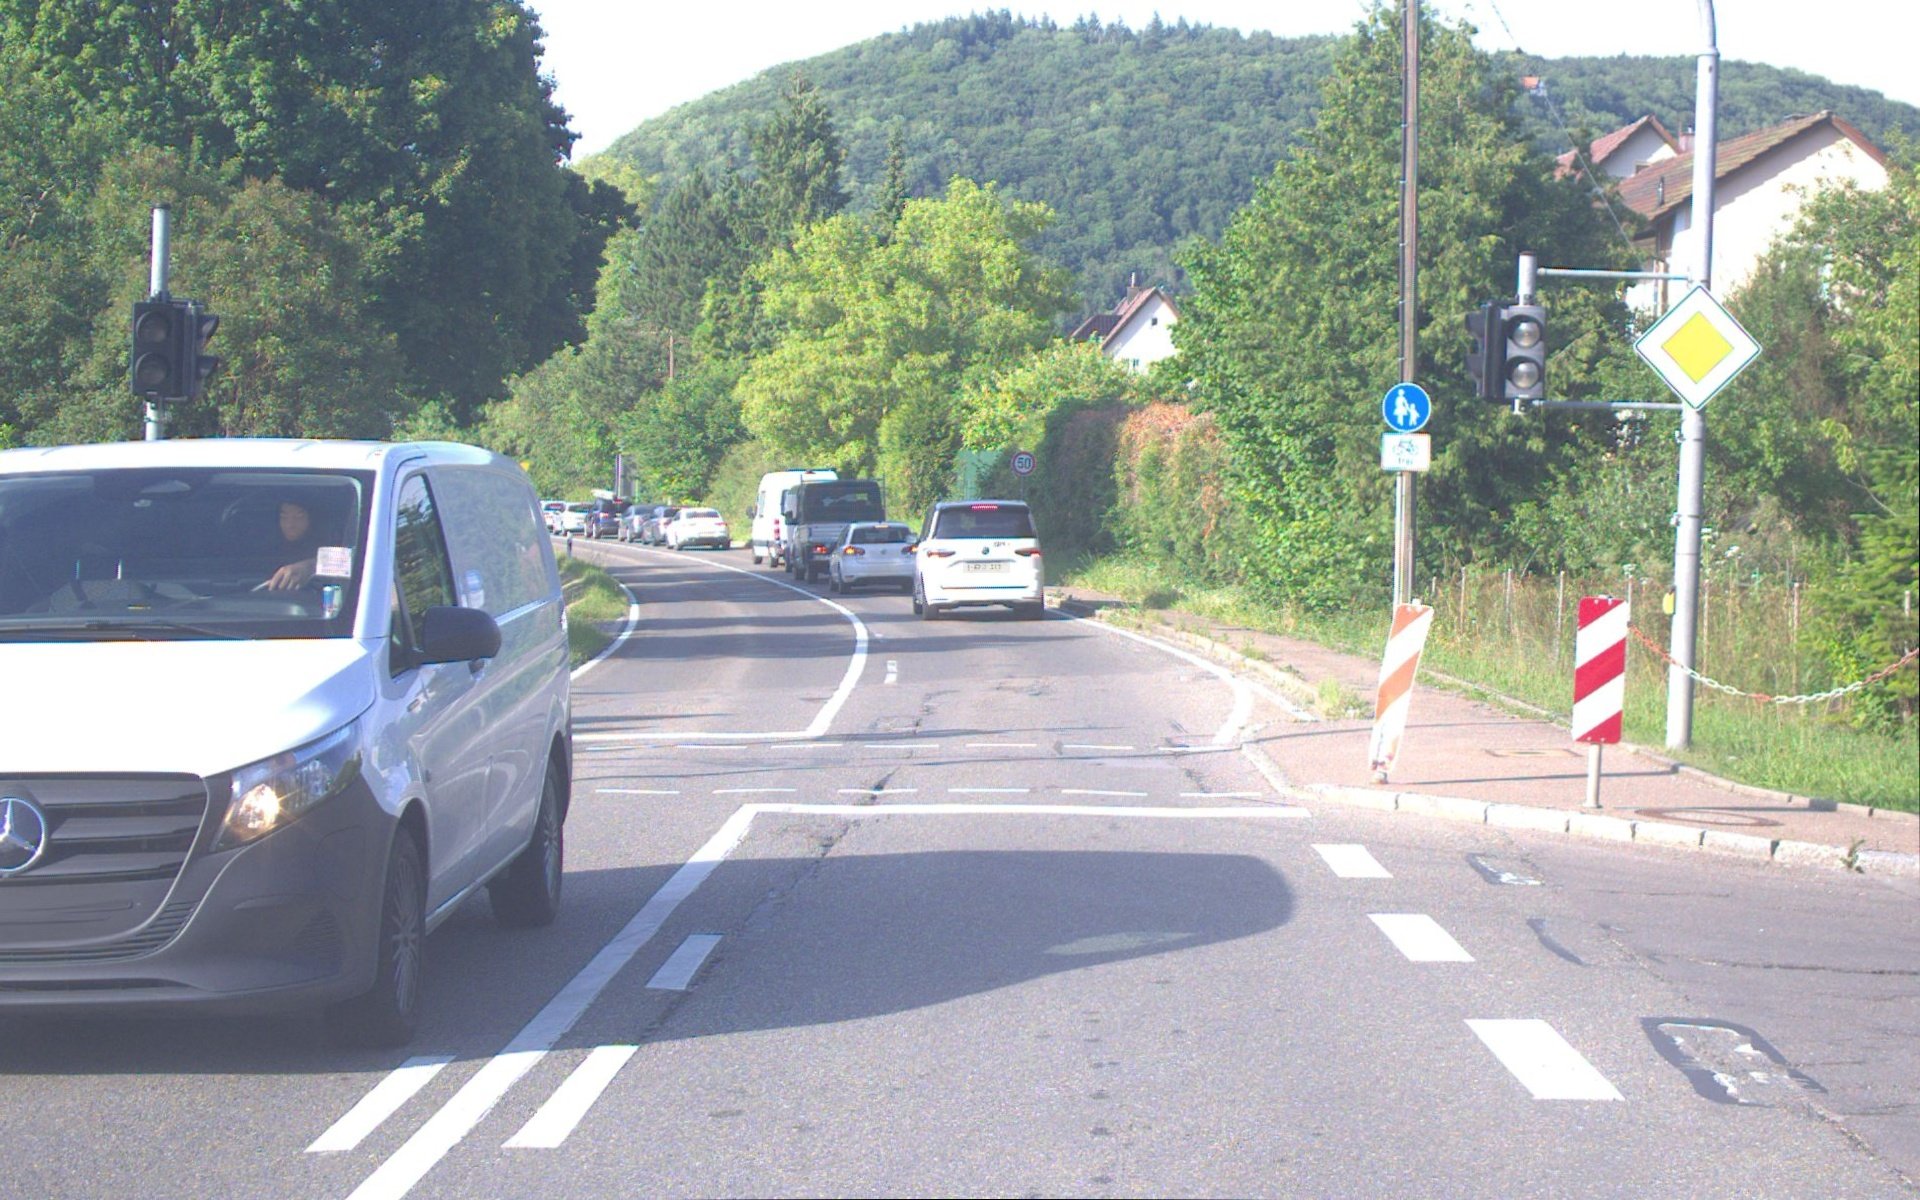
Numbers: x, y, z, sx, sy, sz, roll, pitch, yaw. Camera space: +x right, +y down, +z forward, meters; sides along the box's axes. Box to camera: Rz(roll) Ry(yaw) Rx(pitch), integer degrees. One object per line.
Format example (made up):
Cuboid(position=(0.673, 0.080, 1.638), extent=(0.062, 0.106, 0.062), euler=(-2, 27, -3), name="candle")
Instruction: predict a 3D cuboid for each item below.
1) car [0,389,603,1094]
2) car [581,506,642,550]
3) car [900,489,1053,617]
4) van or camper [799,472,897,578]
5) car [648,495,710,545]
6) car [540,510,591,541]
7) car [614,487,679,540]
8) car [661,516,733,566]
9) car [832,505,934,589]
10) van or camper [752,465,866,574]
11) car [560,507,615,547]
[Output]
Cuboid(position=(-2.576, 0.309, 11.934), extent=(1.993, 1.897, 5.253), euler=(-1, 2, 1), name="car")
Cuboid(position=(-14.244, -2.949, 140.442), extent=(2.040, 1.678, 4.002), euler=(1, 2, -12), name="car")
Cuboid(position=(0.215, -0.802, 55.621), extent=(1.993, 1.870, 4.872), euler=(2, 2, -5), name="car")
Cuboid(position=(-2.651, -1.764, 80.044), extent=(2.179, 2.377, 5.370), euler=(0, 2, -3), name="van or camper")
Cuboid(position=(-10.231, -2.915, 124.876), extent=(1.796, 1.787, 4.001), euler=(0, 2, -11), name="car")
Cuboid(position=(-18.129, -3.434, 157.970), extent=(1.941, 1.419, 4.001), euler=(0, 2, -12), name="car")
Cuboid(position=(-12.034, -3.330, 131.806), extent=(1.993, 2.006, 4.001), euler=(0, 2, -12), name="car")
Cuboid(position=(-9.017, -2.044, 117.611), extent=(1.819, 1.546, 4.002), euler=(-2, 3, -13), name="car")
Cuboid(position=(-1.628, -1.123, 71.294), extent=(1.993, 1.678, 4.001), euler=(0, 2, -3), name="car")
Cuboid(position=(-4.206, -2.234, 94.735), extent=(2.414, 2.894, 6.133), euler=(0, 2, -9), name="van or camper")
Cuboid(position=(-16.155, -3.154, 148.863), extent=(1.941, 1.678, 4.001), euler=(-1, 1, -12), name="car")
